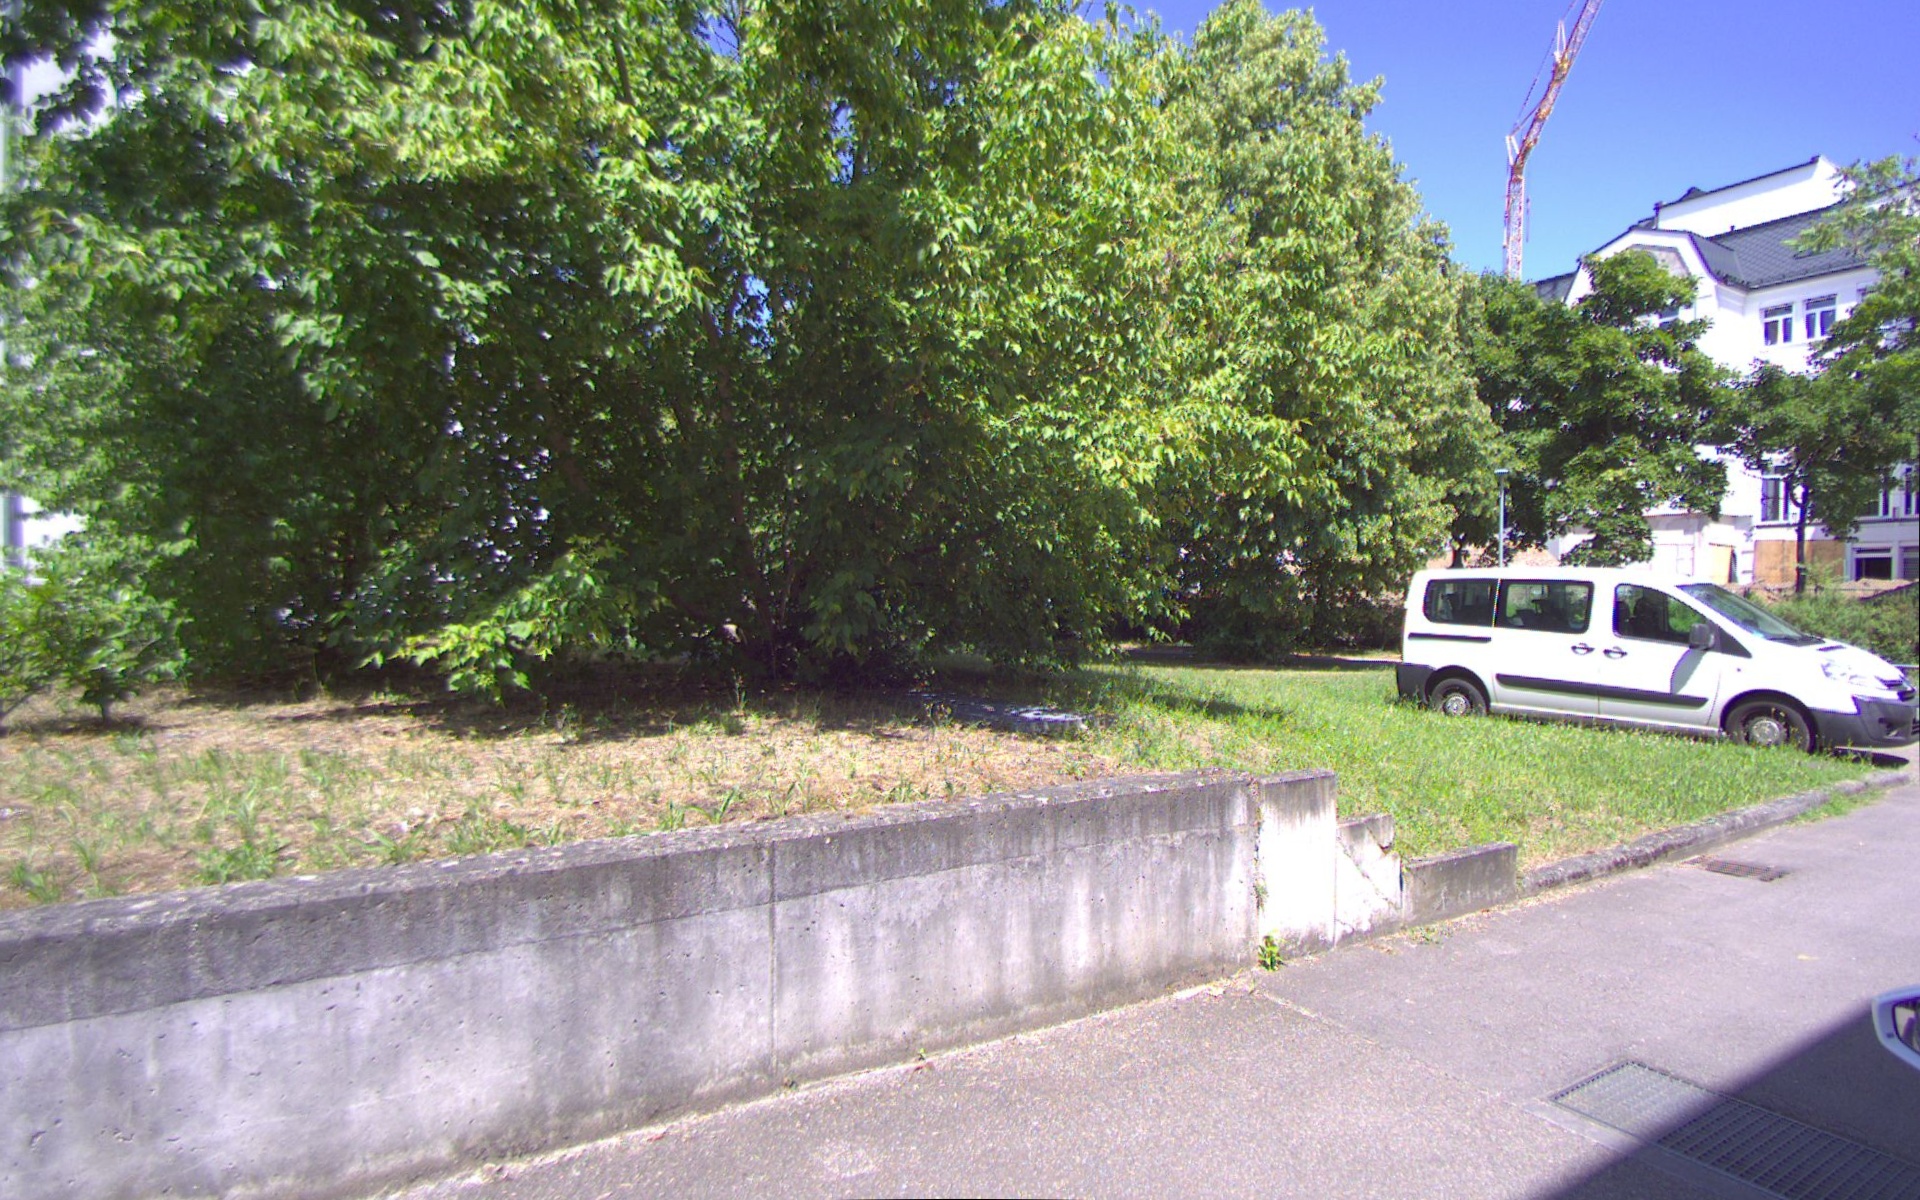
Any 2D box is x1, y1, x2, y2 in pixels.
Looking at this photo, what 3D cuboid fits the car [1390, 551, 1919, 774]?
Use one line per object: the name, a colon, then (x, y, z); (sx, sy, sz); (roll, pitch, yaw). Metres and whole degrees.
car: (7.576, 0.571, 11.238); (1.982, 1.937, 4.753); (1, -1, -37)
